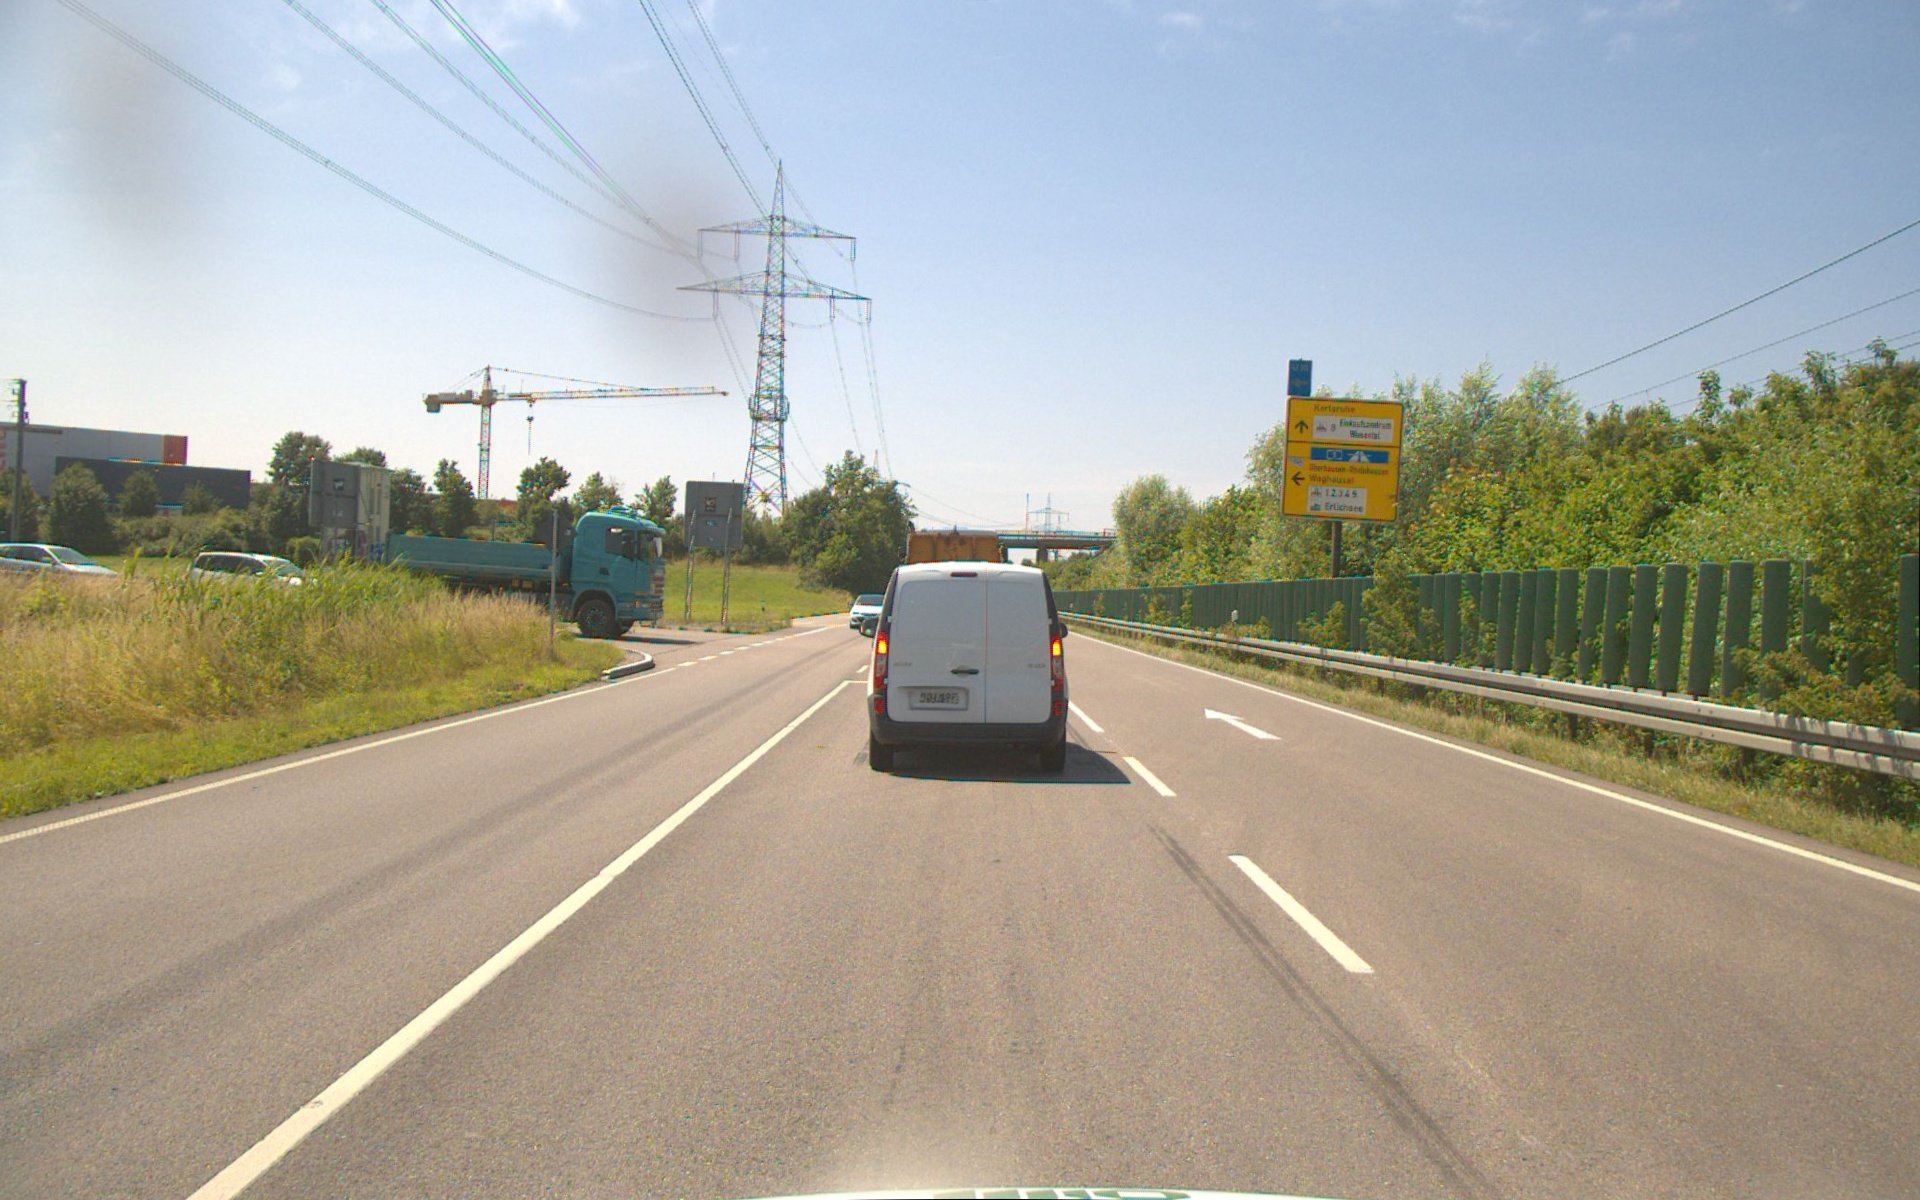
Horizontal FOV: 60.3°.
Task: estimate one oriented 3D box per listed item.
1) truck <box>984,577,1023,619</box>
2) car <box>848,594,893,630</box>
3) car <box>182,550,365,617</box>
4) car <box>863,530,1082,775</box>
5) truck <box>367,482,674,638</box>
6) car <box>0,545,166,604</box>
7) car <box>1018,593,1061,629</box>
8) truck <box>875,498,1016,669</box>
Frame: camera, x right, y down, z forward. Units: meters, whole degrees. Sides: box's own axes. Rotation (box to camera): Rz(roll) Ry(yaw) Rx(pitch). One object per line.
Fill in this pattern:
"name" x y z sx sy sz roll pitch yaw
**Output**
"truck" 2.963 -0.138 114.155 2.326 2.736 8.009 2 0 0
"car" -3.909 0.512 72.773 1.690 1.466 4.249 2 0 0
"car" -19.441 -0.456 46.892 4.445 1.640 1.969 3 0 14
"car" 0.093 0.430 15.679 1.789 2.005 4.000 1 0 0
"truck" -12.267 -1.095 46.551 7.741 3.799 2.499 4 0 2
"car" -25.459 -0.730 47.743 4.337 1.496 1.720 3 0 11
"car" 3.726 0.502 78.083 1.810 1.601 4.000 1 0 0
"truck" -0.188 -0.399 38.039 2.762 3.345 9.703 1 1 1
